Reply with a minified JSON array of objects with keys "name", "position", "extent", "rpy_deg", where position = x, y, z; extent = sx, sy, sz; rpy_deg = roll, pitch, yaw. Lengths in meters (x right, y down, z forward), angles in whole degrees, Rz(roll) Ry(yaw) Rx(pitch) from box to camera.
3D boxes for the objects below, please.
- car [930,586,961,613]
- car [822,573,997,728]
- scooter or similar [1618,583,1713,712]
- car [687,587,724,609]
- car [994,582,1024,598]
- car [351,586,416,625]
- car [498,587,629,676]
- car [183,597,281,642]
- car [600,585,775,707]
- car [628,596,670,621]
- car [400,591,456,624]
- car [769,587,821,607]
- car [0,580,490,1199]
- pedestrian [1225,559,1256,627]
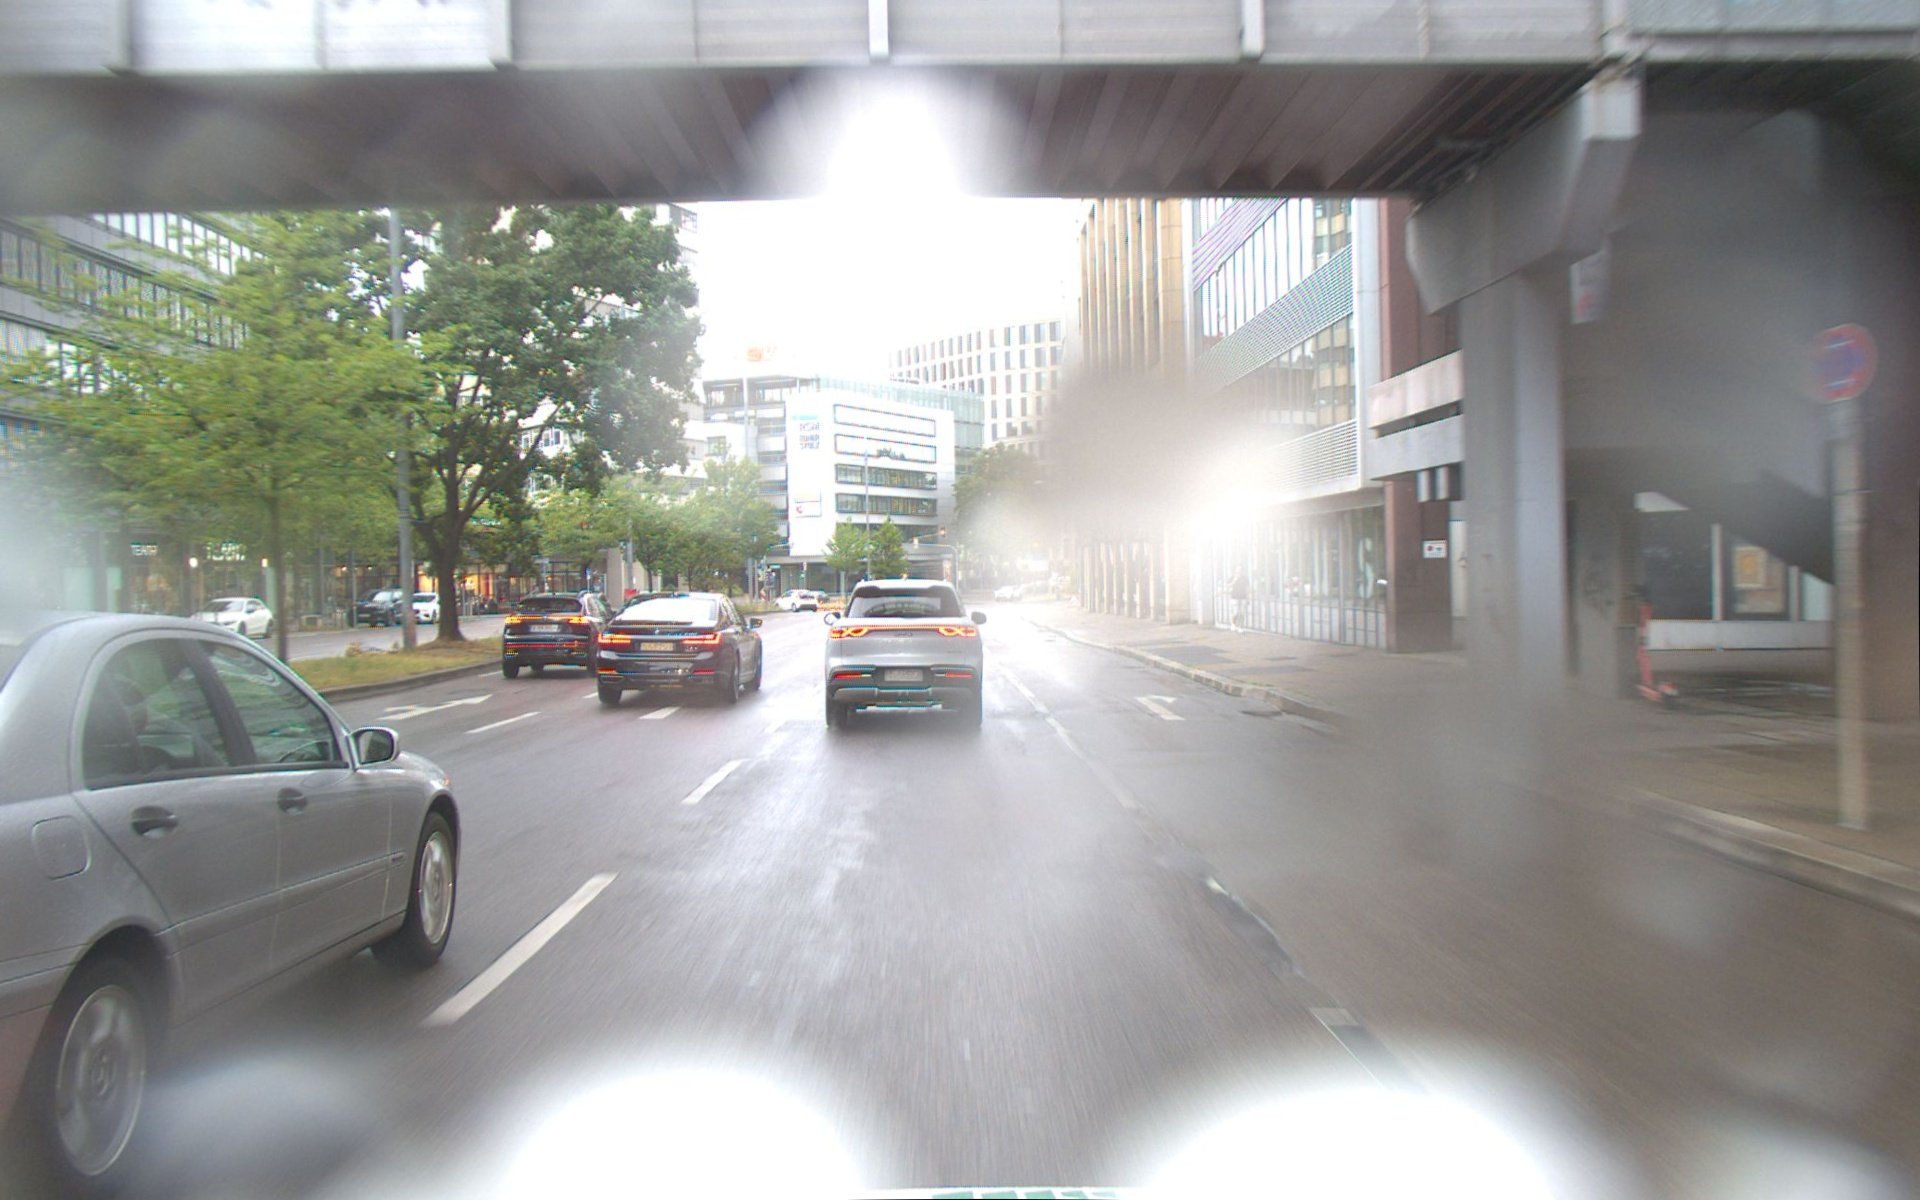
[{"name":"car","position":[-0.908,-0.046,100.666],"extent":[1.775,1.606,3.999],"rpy_deg":[-1,1,-2]},{"name":"car","position":[-0.593,0.529,19.822],"extent":[1.863,1.649,3.999],"rpy_deg":[-1,0,-1]},{"name":"scooter or similar","position":[7.310,0.462,17.177],"extent":[0.342,1.277,1.394],"rpy_deg":[-1,0,-1]},{"name":"car","position":[-18.370,-0.148,119.648],"extent":[1.589,1.478,4.165],"rpy_deg":[-2,0,6]},{"name":"car","position":[5.331,-1.091,179.802],"extent":[1.550,1.565,3.994],"rpy_deg":[-1,1,29]},{"name":"car","position":[-25.613,0.212,73.599],"extent":[1.591,1.639,4.230],"rpy_deg":[0,1,-3]},{"name":"car","position":[-7.291,0.552,30.736],"extent":[1.739,1.482,3.996],"rpy_deg":[-2,0,-5]},{"name":"car","position":[-24.975,0.653,56.906],"extent":[1.591,1.457,4.443],"rpy_deg":[-2,0,-3]},{"name":"car","position":[-3.786,0.574,23.764],"extent":[1.834,1.504,4.877],"rpy_deg":[0,1,-2]},{"name":"car","position":[-19.719,0.511,105.095],"extent":[1.589,1.518,4.308],"rpy_deg":[-2,0,3]},{"name":"car","position":[-25.579,0.343,79.684],"extent":[1.591,1.486,3.961],"rpy_deg":[0,1,-3]},{"name":"car","position":[-11.370,-0.205,113.794],"extent":[1.643,1.365,3.942],"rpy_deg":[-2,1,-40]},{"name":"car","position":[-2.829,0.717,4.990],"extent":[1.638,1.505,4.359],"rpy_deg":[-1,0,-1]},{"name":"pedestrian","position":[7.504,-0.182,44.278],"extent":[0.622,1.803,0.789],"rpy_deg":[-2,0,-1]}]
